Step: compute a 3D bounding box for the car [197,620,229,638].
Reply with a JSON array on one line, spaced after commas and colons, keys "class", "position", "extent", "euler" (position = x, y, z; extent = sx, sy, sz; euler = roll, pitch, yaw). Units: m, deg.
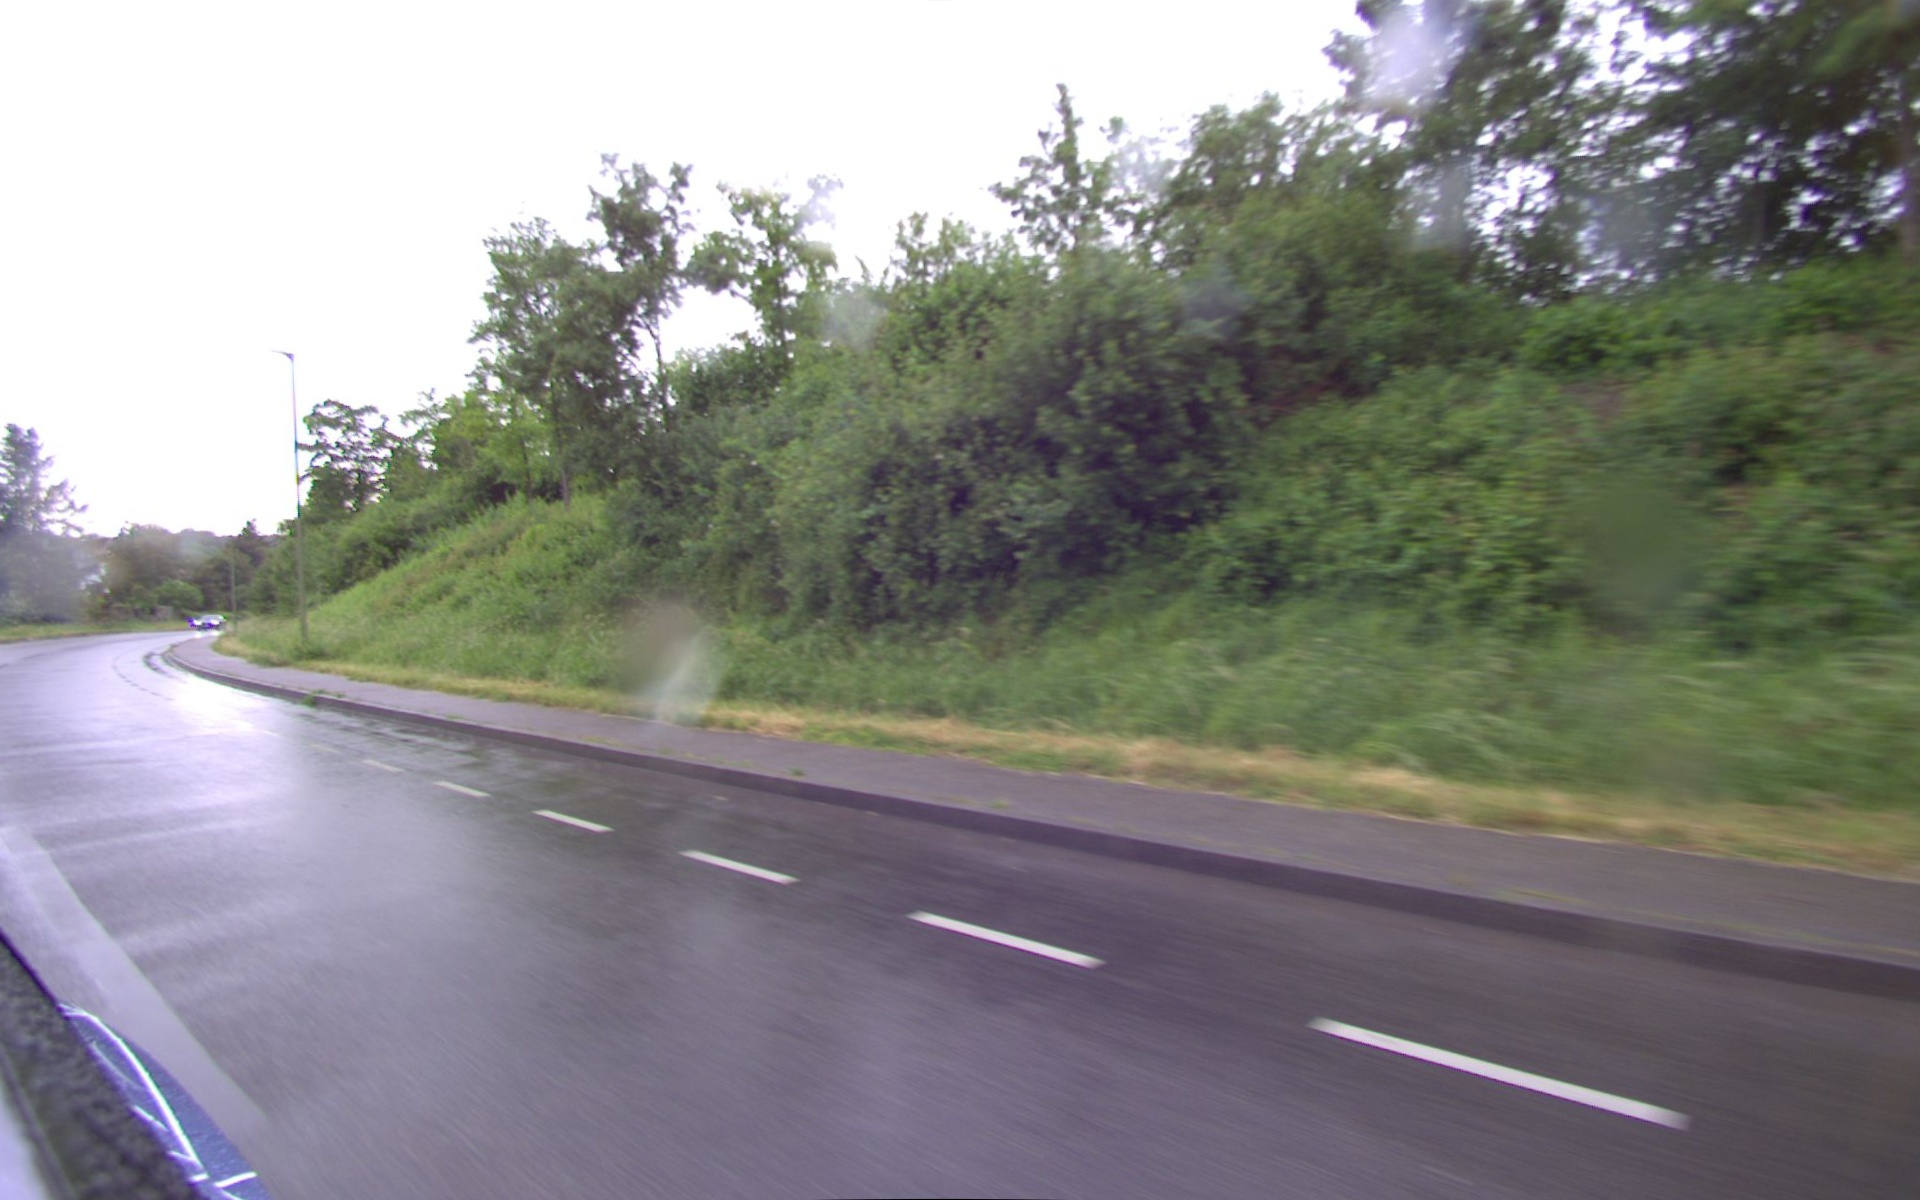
[{"class": "car", "position": [-71.753, 2.779, 97.251], "extent": [1.848, 1.618, 4.013], "euler": [1, -1, -27]}]
